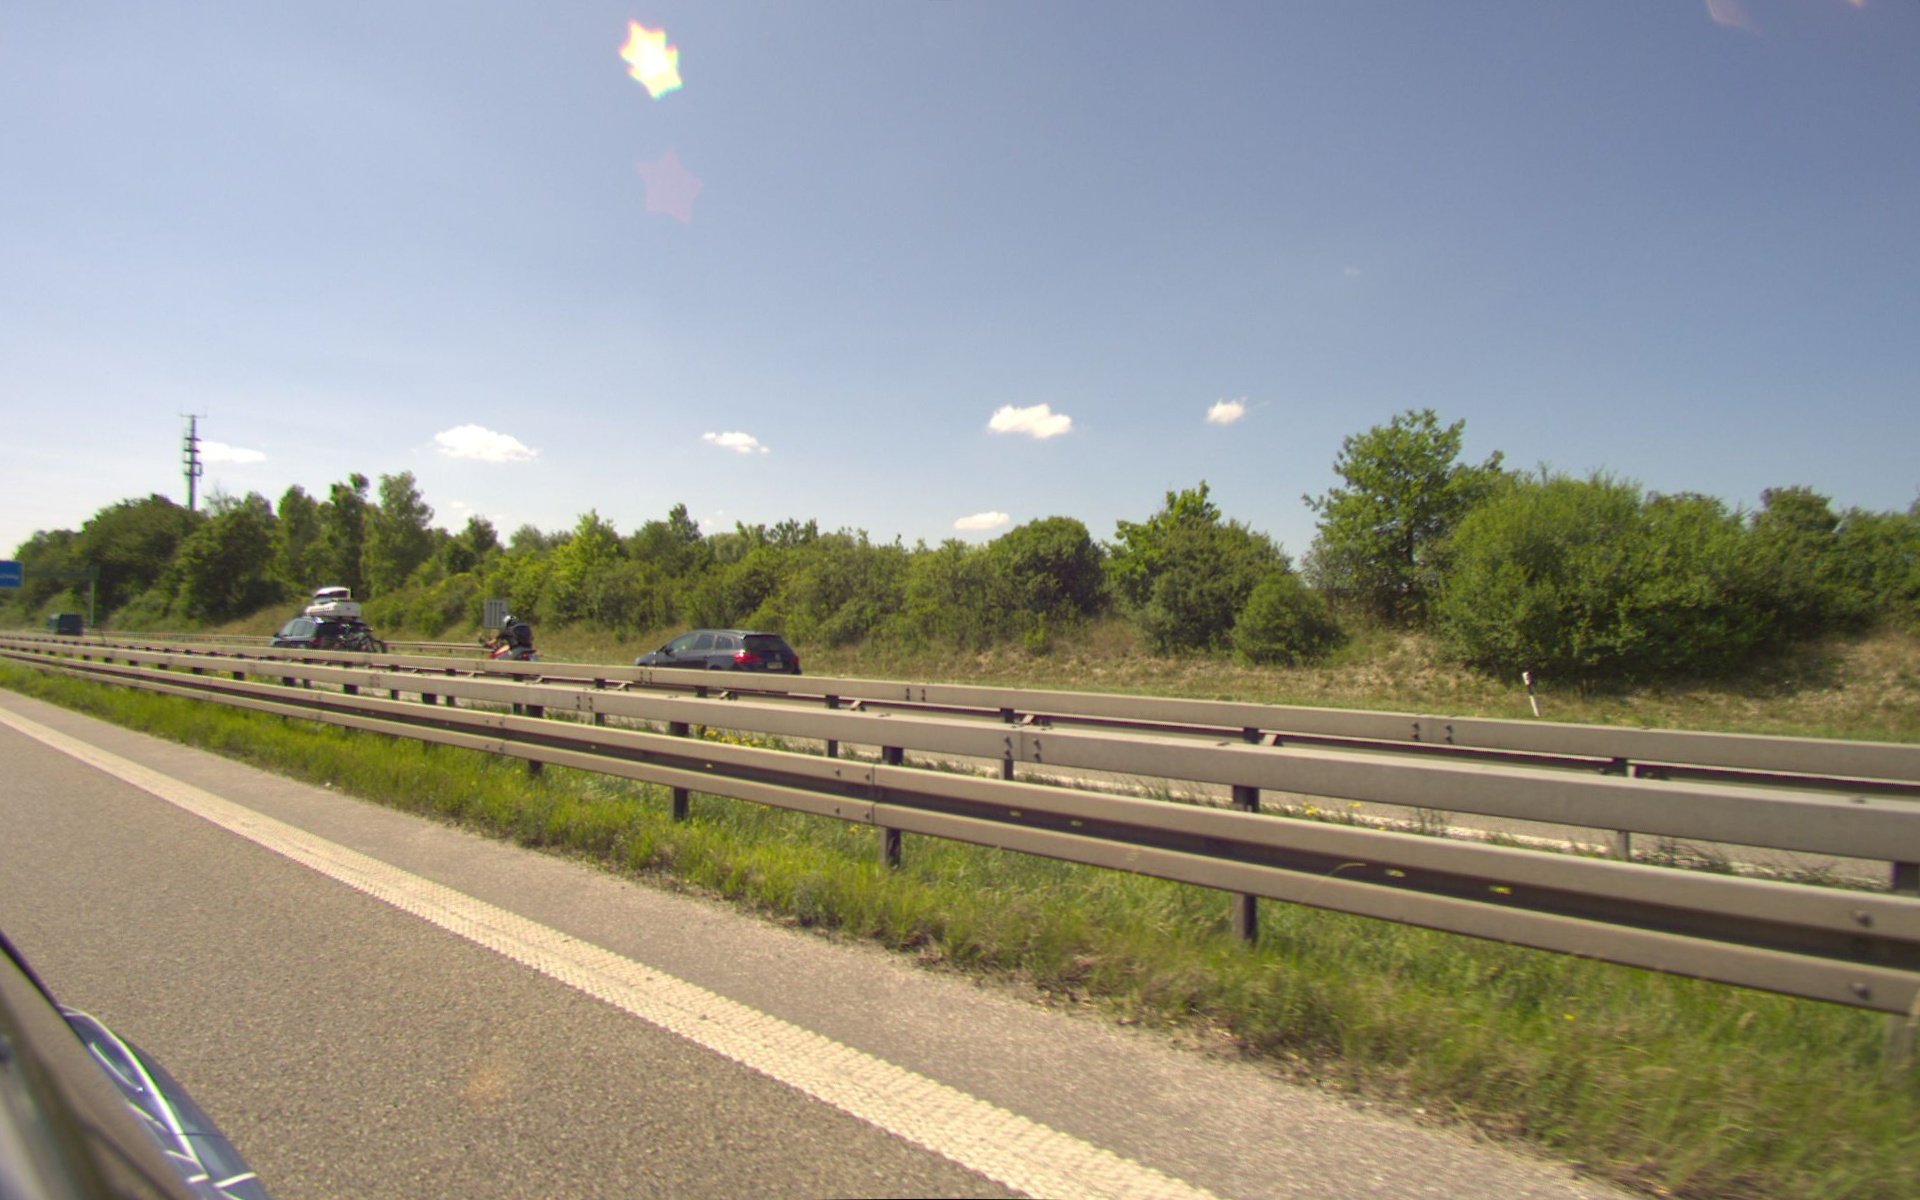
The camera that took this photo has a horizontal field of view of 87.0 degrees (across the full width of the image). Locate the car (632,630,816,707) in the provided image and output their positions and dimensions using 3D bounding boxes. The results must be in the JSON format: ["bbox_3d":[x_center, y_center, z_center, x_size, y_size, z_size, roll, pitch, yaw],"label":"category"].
[{"bbox_3d":[-5.149,1.393,21.775,4.230,1.470,1.724,-1,-2,41],"label":"car"}]

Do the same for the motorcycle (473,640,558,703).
[{"bbox_3d":[-8.165,1.295,18.572,1.880,1.084,0.657,-1,-4,41],"label":"motorcycle"}]

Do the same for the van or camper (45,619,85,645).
[{"bbox_3d":[-84.929,3.066,95.989,6.237,2.410,1.973,-2,-3,41],"label":"van or camper"}]

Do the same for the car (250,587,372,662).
[{"bbox_3d":[-20.001,0.774,31.151,4.299,2.125,1.973,-1,-3,41],"label":"car"}]

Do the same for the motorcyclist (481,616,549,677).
[{"bbox_3d":[-8.216,0.860,18.697,0.810,1.084,0.866,-1,-4,41],"label":"motorcyclist"}]
